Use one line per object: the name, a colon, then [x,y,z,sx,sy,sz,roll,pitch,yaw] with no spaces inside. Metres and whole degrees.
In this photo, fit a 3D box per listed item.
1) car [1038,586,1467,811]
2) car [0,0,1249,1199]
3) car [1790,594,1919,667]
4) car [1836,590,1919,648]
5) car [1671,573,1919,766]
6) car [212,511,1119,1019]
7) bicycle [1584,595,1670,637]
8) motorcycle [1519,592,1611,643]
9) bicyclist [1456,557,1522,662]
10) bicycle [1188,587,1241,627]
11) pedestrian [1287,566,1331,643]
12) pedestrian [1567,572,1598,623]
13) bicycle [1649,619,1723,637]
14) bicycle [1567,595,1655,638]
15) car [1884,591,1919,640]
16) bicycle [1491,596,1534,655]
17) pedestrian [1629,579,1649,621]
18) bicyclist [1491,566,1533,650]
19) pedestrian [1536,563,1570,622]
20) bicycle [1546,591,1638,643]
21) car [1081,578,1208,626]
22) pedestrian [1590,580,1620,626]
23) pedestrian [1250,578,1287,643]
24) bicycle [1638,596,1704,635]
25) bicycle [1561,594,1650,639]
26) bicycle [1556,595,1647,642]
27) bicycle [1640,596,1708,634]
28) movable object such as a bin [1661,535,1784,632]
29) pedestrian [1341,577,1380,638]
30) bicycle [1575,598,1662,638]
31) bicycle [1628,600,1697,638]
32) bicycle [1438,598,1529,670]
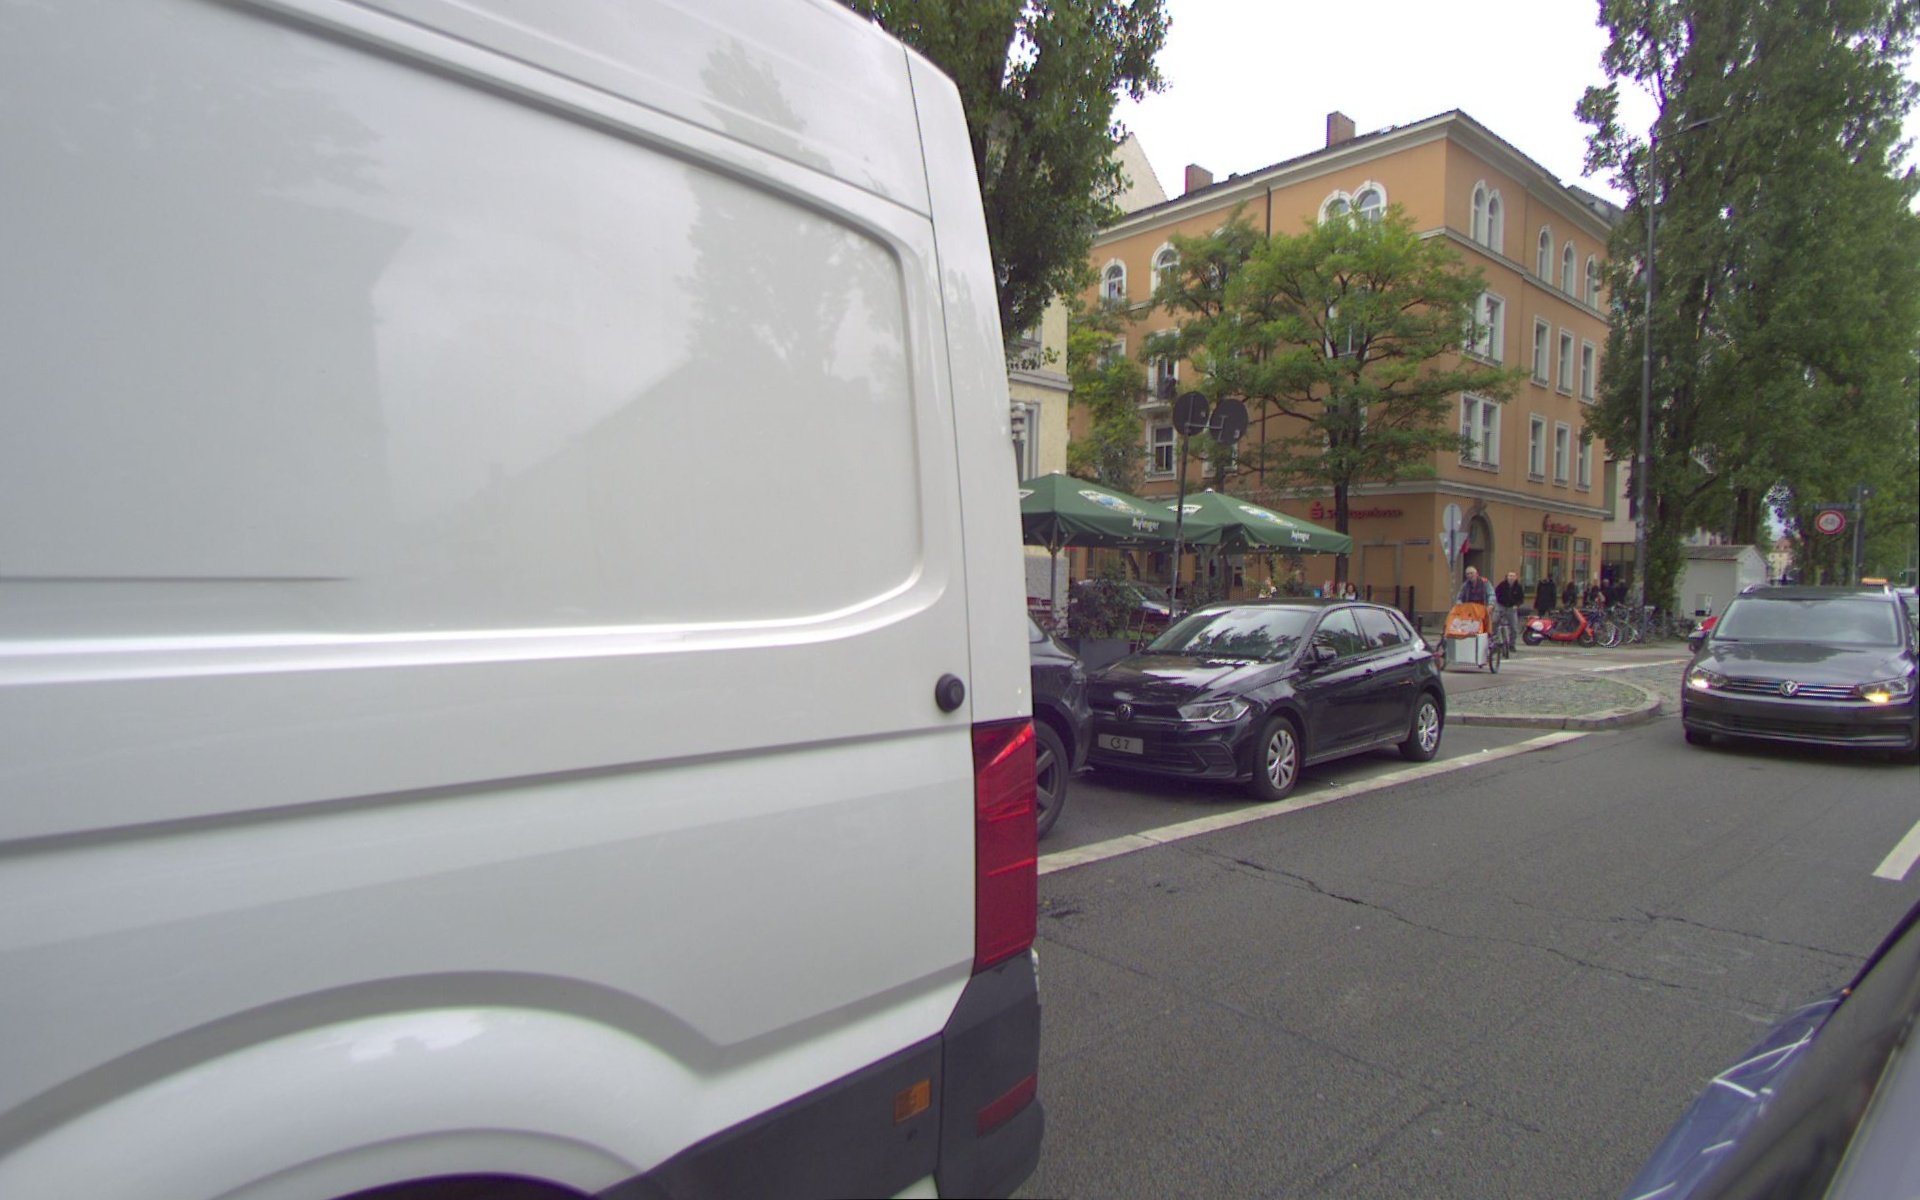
car: [2.608,0.627,8.520,3.884,1.434,1.696,0,1,-43]
car: [-2.676,0.156,0.415,6.611,2.524,2.067,0,1,-41]
car: [20.131,0.629,21.490,3.921,1.451,1.620,0,0,-8]
car: [27.689,0.518,30.200,4.421,1.572,1.787,0,1,-42]
car: [9.042,0.566,10.456,4.120,1.611,1.881,0,1,-42]
car: [-1.231,0.516,5.461,4.371,1.658,1.805,0,1,-42]
bicycle: [18.934,0.441,28.764,0.551,1.098,1.945,0,2,-39]
motorcycle: [15.579,0.432,26.107,1.939,1.236,0.510,2,1,25]
bicyclist: [9.171,0.145,17.547,0.828,1.779,0.657,2,1,43]
bicycle: [9.249,0.238,36.857,0.551,1.389,1.945,0,0,-39]
pedestrian: [8.239,0.095,23.917,0.718,1.788,0.699,0,0,-38]
pedestrian: [20.870,-0.088,33.923,0.743,1.682,0.759,0,0,43]
bicycle: [21.162,0.814,29.519,1.671,0.378,0.818,4,3,42]
bicycle: [17.927,0.449,27.895,0.551,1.089,1.945,0,2,-39]
car: [33.322,0.512,34.821,4.421,1.634,1.787,0,1,-42]
bicycle: [11.640,0.512,21.357,0.731,1.134,2.081,2,1,28]
pedestrian: [27.891,0.001,41.559,0.617,1.715,0.566,0,0,41]
bicyclist: [11.642,0.157,21.364,0.735,1.708,0.741,1,1,28]
pedestrian: [20.142,-0.264,34.384,0.838,1.973,0.789,0,0,45]
bicycle: [16.510,0.416,26.473,0.551,1.255,1.945,0,1,-39]
car: [6.235,0.048,34.572,1.873,1.539,3.993,-1,1,-41]
pedestrian: [22.611,0.085,35.471,0.603,1.590,0.746,0,0,-38]
pedestrian: [7.665,0.255,25.155,0.564,1.590,0.699,0,0,-38]
bicycle: [21.549,0.456,30.704,1.593,1.098,0.319,2,1,28]
bicycle: [17.422,0.425,27.362,0.551,1.102,1.945,0,2,-39]
bicycle: [17.006,0.460,26.865,0.551,1.151,1.945,0,1,-39]
bicycle: [21.409,0.441,30.368,1.588,1.098,0.339,2,1,28]
movable object such as a bin: [27.109,-0.607,35.931,4.463,3.175,2.445,0,3,-41]
pedestrian: [10.584,0.195,26.743,0.651,1.590,0.746,0,0,-38]
bicycle: [18.378,0.473,28.281,0.551,1.022,1.945,0,2,-39]
bicycle: [20.352,0.535,29.324,1.597,1.022,0.337,2,1,43]
bicycle: [9.006,0.542,17.376,0.884,1.134,2.070,2,2,42]
